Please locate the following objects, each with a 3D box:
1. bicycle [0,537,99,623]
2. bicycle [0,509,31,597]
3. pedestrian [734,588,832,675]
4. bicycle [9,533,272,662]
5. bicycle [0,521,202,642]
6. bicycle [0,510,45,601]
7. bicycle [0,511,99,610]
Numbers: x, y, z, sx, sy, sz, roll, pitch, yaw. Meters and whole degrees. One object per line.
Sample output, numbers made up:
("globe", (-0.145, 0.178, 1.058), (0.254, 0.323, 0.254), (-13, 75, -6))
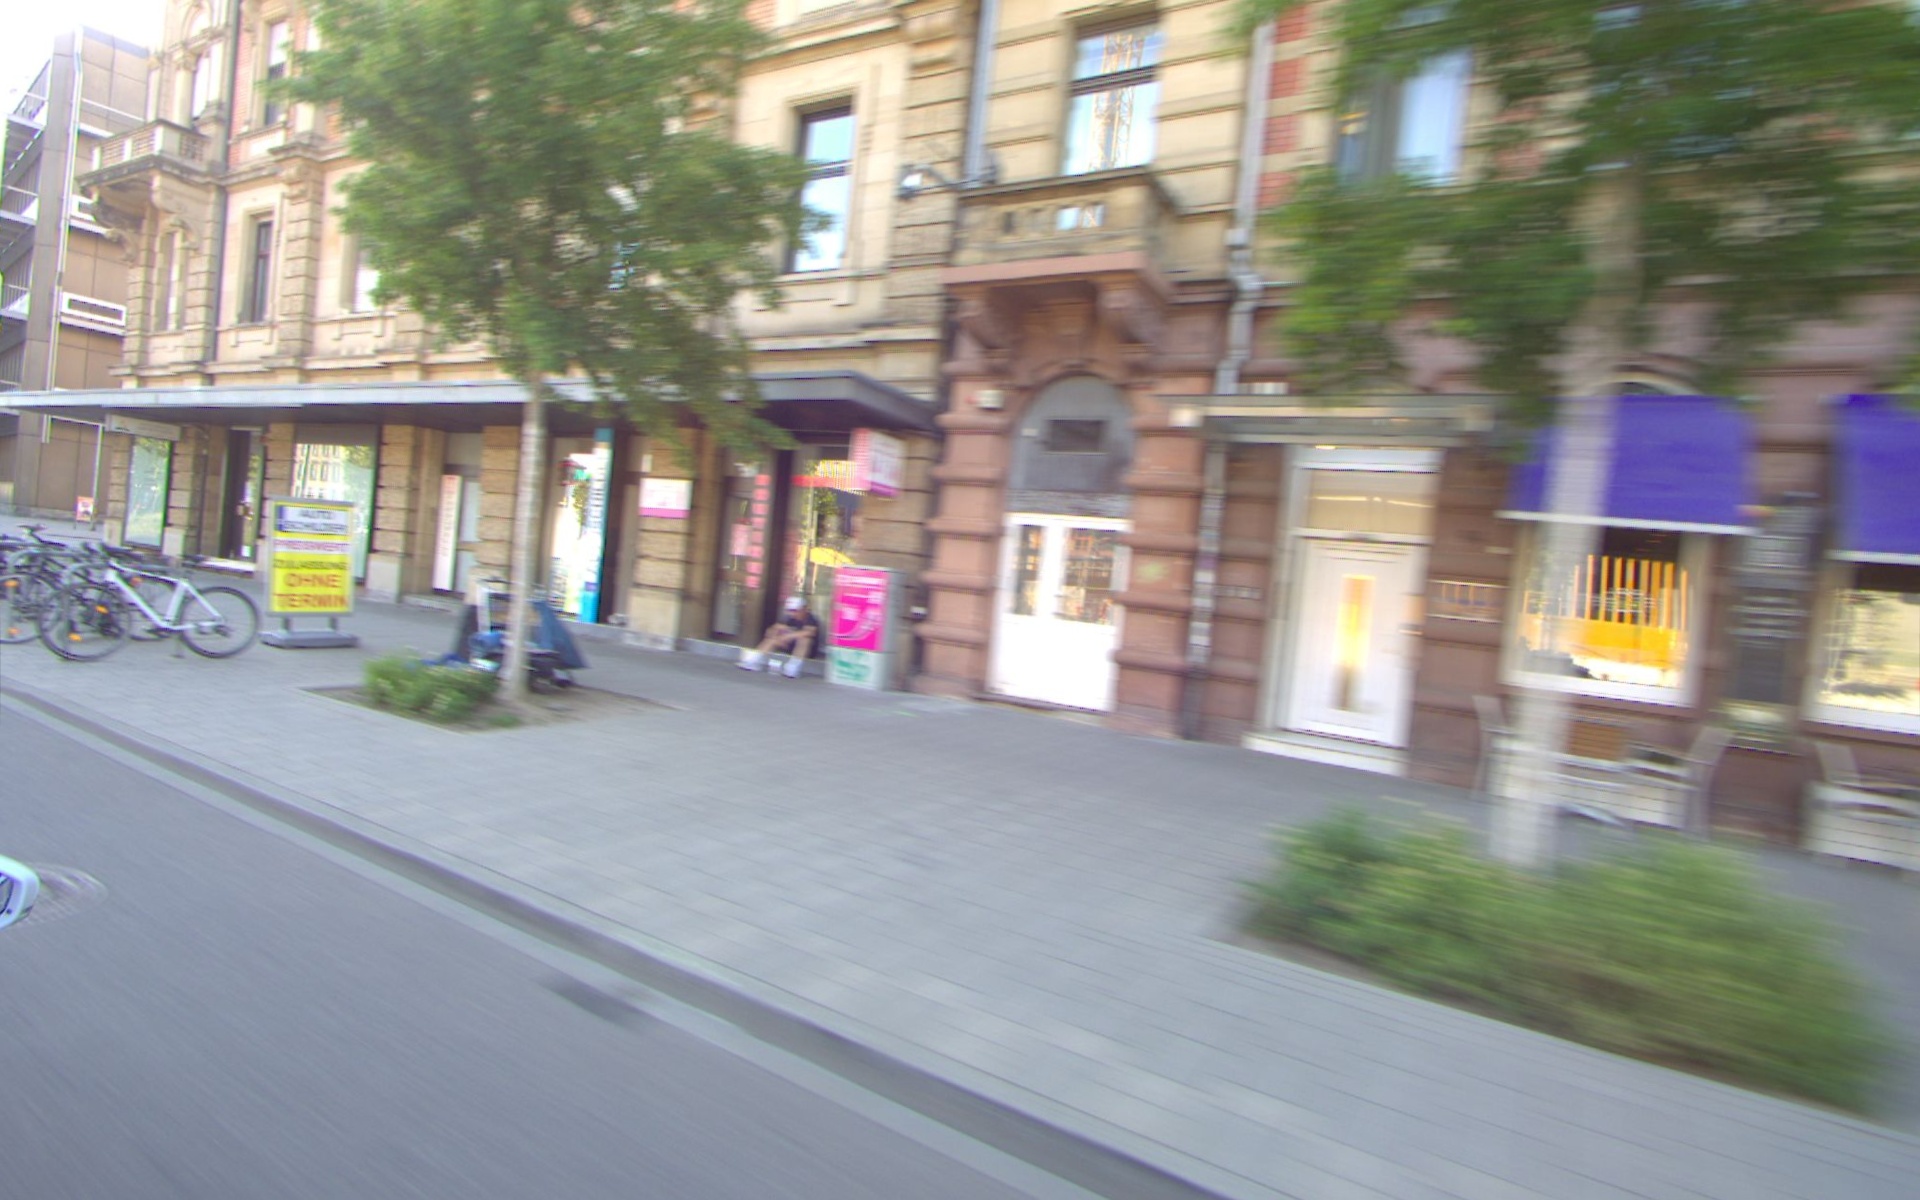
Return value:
("bicycle", (-10.245, -0.220, 10.918), (0.499, 0.889, 1.273), (7, 3, 36))
("bicycle", (-12.960, -0.639, 12.681), (0.499, 1.119, 1.751), (7, 3, 36))
("pedestrian", (-2.225, 0.403, 12.692), (0.791, 0.975, 0.814), (7, 1, 33))
("bicycle", (-7.557, -0.006, 9.362), (0.557, 1.062, 1.802), (7, 3, 36))
("bicycle", (-8.833, -0.171, 10.106), (0.557, 1.119, 1.842), (7, 3, 36))
("bicycle", (-12.479, -0.593, 12.357), (0.499, 1.119, 1.751), (7, 3, 36))
("bicycle", (-11.324, -0.480, 11.839), (0.499, 1.119, 1.719), (7, 3, 36))
